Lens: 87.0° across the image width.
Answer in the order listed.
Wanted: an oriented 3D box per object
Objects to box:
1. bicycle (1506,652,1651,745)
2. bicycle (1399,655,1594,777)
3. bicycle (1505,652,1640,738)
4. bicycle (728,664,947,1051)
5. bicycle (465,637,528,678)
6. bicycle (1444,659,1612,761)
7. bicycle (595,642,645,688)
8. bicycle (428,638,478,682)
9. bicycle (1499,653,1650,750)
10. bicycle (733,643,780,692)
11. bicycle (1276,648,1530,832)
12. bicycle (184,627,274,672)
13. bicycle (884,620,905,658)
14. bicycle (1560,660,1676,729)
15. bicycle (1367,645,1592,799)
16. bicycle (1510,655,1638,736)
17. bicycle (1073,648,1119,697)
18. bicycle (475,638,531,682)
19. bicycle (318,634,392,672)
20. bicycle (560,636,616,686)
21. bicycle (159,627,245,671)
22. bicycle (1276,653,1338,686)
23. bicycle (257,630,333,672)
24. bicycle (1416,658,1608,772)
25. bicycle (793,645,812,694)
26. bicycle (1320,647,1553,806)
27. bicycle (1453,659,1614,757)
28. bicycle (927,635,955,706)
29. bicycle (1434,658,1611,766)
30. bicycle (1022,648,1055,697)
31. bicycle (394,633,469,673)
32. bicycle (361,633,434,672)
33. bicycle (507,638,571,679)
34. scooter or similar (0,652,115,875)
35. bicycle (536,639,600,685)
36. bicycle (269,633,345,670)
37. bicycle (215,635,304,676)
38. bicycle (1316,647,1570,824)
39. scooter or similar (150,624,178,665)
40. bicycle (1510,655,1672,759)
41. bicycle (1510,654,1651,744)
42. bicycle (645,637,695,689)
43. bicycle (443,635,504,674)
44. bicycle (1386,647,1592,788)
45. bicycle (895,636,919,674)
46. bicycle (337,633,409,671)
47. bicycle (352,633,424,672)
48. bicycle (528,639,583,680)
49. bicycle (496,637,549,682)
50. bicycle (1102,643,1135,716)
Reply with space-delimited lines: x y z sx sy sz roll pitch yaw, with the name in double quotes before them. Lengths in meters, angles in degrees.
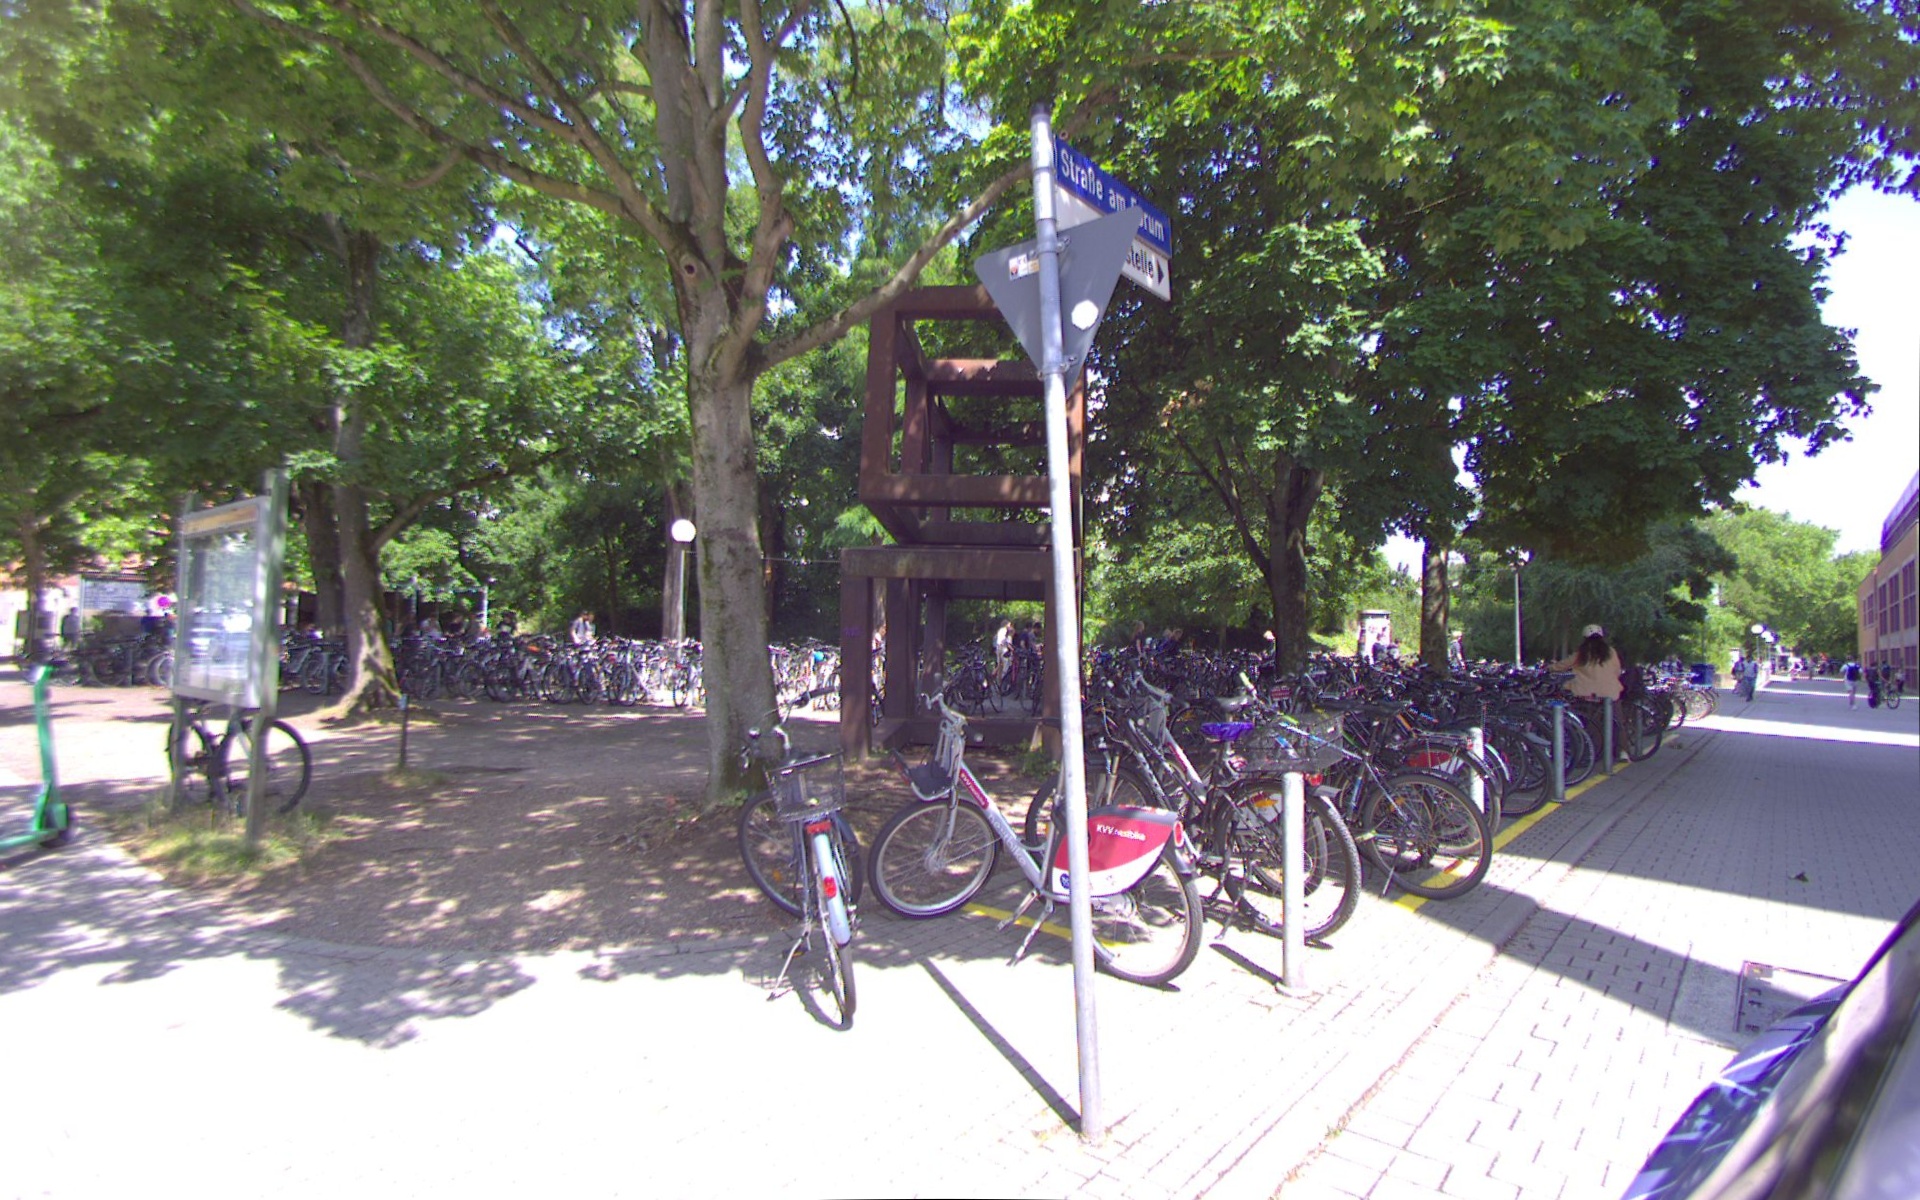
"bicycle" 8.494 1.337 13.936 1.678 1.144 0.448 1 -5 36
"bicycle" 5.382 1.134 10.191 1.684 1.061 0.561 1 -4 33
"bicycle" 9.036 1.379 14.967 1.678 1.144 0.448 1 -5 36
"bicycle" -0.594 0.886 4.202 0.593 1.156 1.789 0 -1 -17
"bicycle" -11.918 1.459 26.091 0.471 0.991 1.898 0 -2 10
"bicycle" 6.708 1.273 11.991 1.678 1.061 0.609 1 -5 36
"bicycle" -7.764 1.467 23.172 0.469 0.991 1.903 0 -2 1
"bicycle" -12.021 1.406 24.043 0.469 0.991 1.906 0 -2 -8
"bicycle" 8.124 1.320 13.411 1.678 1.144 0.448 1 -5 36
"bicycle" -4.523 1.486 22.637 0.372 0.991 1.898 0 -2 10
"bicycle" 3.270 0.980 7.595 0.474 1.139 1.692 1 0 -44
"bicycle" -19.078 1.278 26.467 0.604 1.133 1.892 -1 -2 18
"bicycle" -1.962 1.177 30.582 0.470 1.107 1.609 0 -2 2
"bicycle" 11.562 1.648 17.804 1.678 1.098 0.472 1 -5 37
"bicycle" 4.631 1.036 9.094 1.690 1.165 0.618 1 0 42
"bicycle" 9.630 1.474 15.902 1.678 1.144 0.448 1 -5 36
"bicycle" 2.991 1.589 22.460 0.469 0.991 1.906 0 -2 -9
"bicycle" -10.858 1.412 24.099 0.469 0.991 1.903 0 -2 -1
"bicycle" -16.425 1.419 27.523 0.416 0.991 1.892 -1 -2 18
"bicycle" -8.504 1.376 23.226 0.470 1.096 1.901 0 -2 4
"bicycle" -20.136 1.284 26.913 0.604 1.133 1.798 -1 -2 18
"bicycle" 10.666 2.131 31.131 1.718 0.943 0.587 0 0 -2
"bicycle" -18.959 1.429 28.887 0.473 1.158 1.890 -1 -2 21
"bicycle" 5.874 1.198 10.838 0.607 1.061 1.693 6 -5 -41
"bicycle" -3.471 1.503 22.245 0.371 0.991 1.906 0 -2 -10
"bicycle" 4.042 1.016 8.678 0.617 1.139 1.692 1 0 -44
"bicycle" 7.042 1.302 12.458 1.678 1.061 0.494 1 -5 36
"bicycle" -0.330 1.227 18.031 0.406 1.185 1.844 1 -2 1
"bicycle" 6.318 1.229 11.396 1.678 1.061 0.609 1 -5 36
"bicycle" 1.723 1.588 22.471 0.469 0.991 1.904 0 -2 -3
"bicycle" -14.027 1.385 26.924 0.604 0.991 1.892 -1 -2 18
"bicycle" -15.004 1.387 27.045 0.472 0.991 1.893 0 -2 17
"bicycle" -10.910 1.494 26.270 0.436 0.991 1.893 0 -2 16
"scooter or similar" -5.556 0.906 5.984 0.487 1.128 1.364 2 -1 -25
"bicycle" -9.068 1.413 23.463 0.471 0.991 1.898 0 -2 10
"bicycle" -18.244 1.421 28.320 0.473 0.991 1.890 -1 -2 21
"bicycle" -17.963 1.413 26.017 0.604 0.991 1.892 -1 -2 18
"bicycle" 3.709 0.986 7.874 0.556 1.139 1.692 1 0 -44
"scooter or similar" -24.318 1.355 30.912 1.288 1.235 0.419 -2 -4 41
"bicycle" 7.818 1.305 12.582 1.678 1.144 0.448 1 -5 36
"bicycle" 8.821 1.385 14.412 1.678 1.144 0.448 1 -5 36
"bicycle" -6.582 1.414 23.082 0.470 1.096 1.901 0 -2 4
"bicycle" -12.936 1.435 26.969 0.527 0.991 1.900 0 -2 6
"bicycle" 5.019 1.079 9.644 1.683 1.165 0.620 1 -4 32
"bicycle" -1.622 1.653 30.755 0.468 1.107 1.614 0 -2 -12
"bicycle" -15.942 1.401 27.535 0.416 0.991 1.892 -1 -2 18
"bicycle" -15.344 1.391 27.201 0.472 0.991 1.893 0 -2 17
"bicycle" -10.416 1.509 26.147 0.301 0.991 1.877 0 -2 13
"bicycle" -10.339 1.394 23.984 0.469 0.991 1.904 0 -2 -1
"bicycle" 2.779 1.358 17.818 0.429 1.185 1.842 1 -2 5
